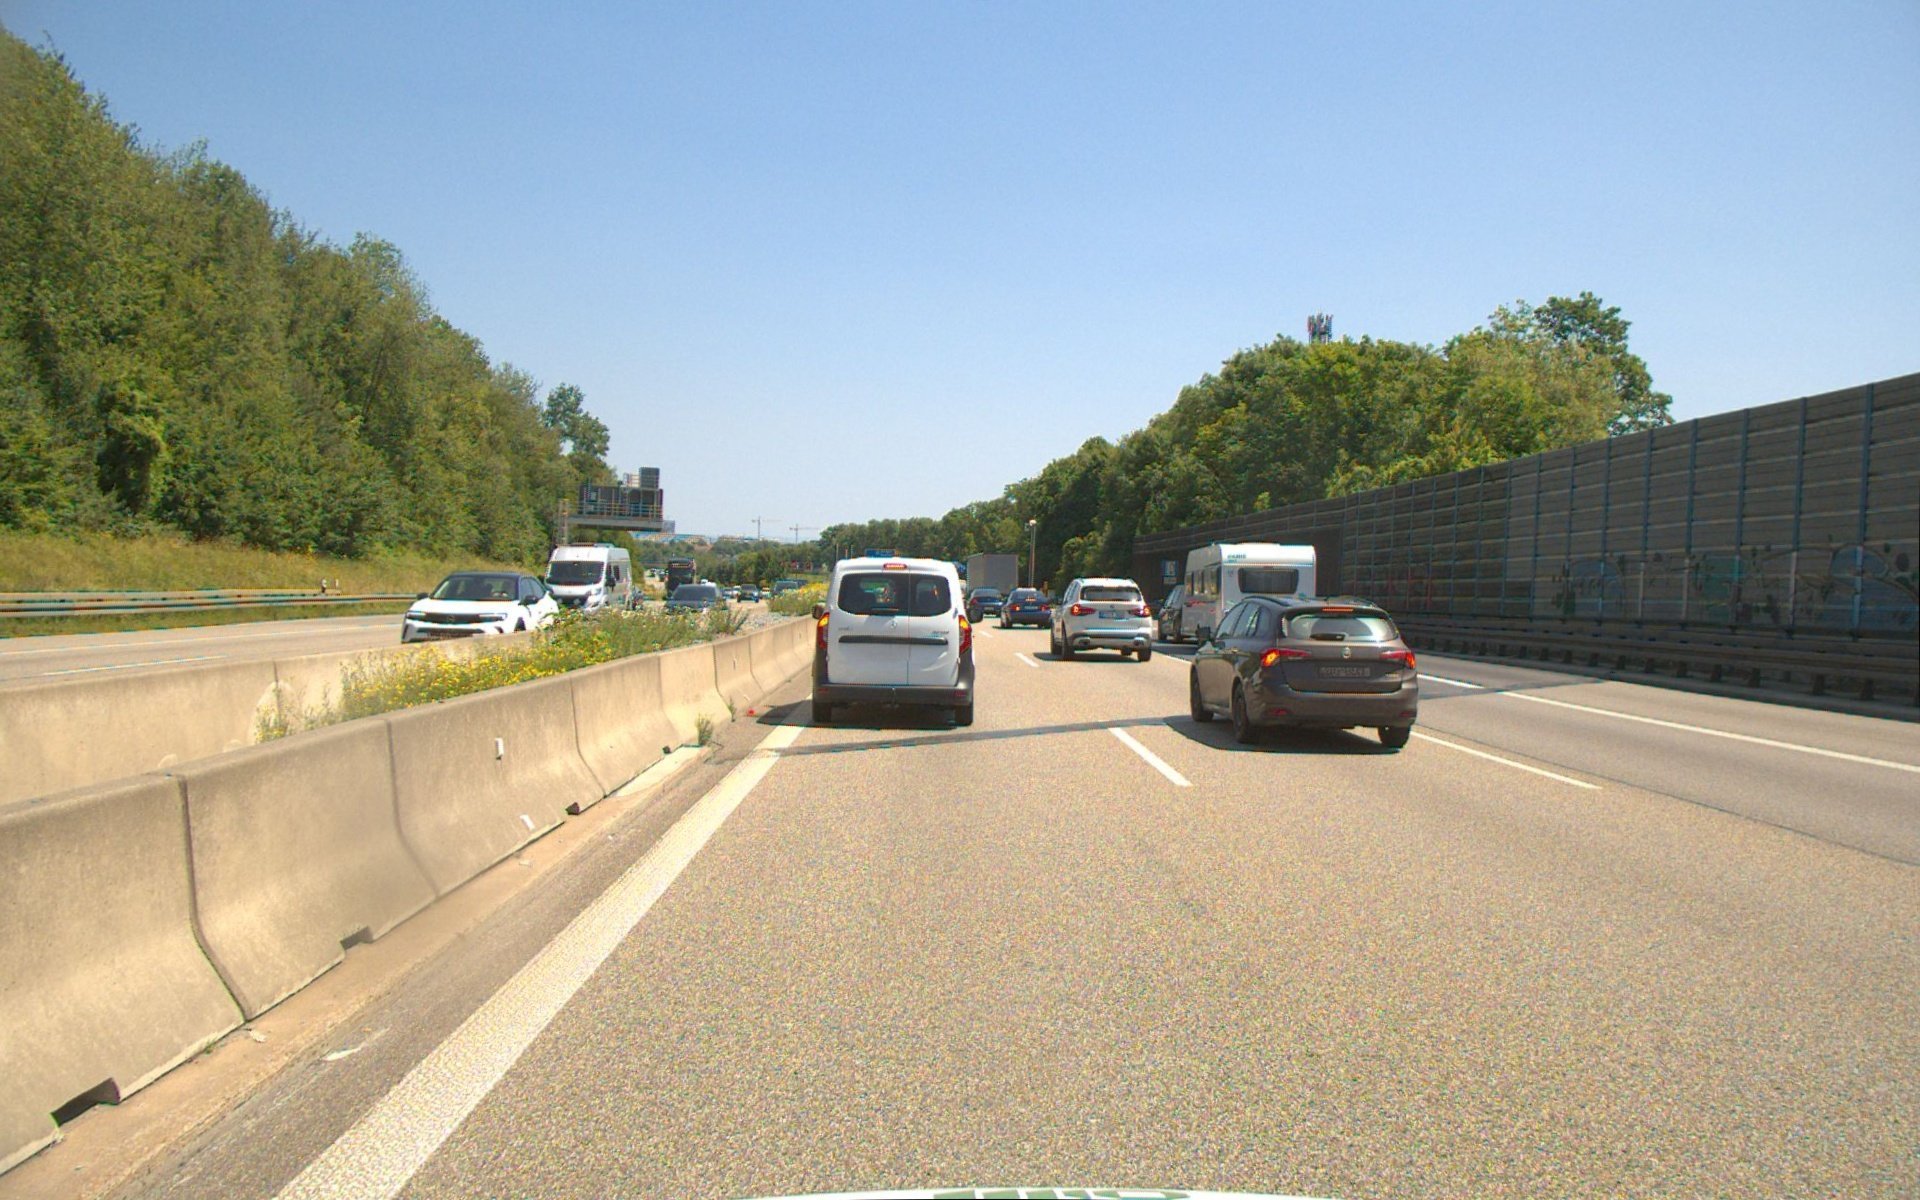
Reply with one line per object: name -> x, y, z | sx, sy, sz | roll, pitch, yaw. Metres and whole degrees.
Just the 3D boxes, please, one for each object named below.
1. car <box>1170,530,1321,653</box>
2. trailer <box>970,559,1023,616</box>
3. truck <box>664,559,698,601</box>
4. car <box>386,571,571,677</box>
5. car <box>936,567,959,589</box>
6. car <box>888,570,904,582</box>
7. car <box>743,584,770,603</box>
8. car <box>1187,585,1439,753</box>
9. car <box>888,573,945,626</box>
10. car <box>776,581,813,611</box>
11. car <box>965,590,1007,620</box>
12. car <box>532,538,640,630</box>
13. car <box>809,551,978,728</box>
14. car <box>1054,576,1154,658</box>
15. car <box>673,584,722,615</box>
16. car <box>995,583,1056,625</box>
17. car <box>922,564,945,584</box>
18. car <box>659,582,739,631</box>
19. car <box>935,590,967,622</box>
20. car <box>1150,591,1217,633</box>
car -> 7.021, -0.201, 41.434 | 2.429, 2.814, 6.216 | 1, 0, -3
trailer -> 2.632, -0.924, 123.535 | 3.021, 4.055, 10.315 | 1, 0, -4
truck -> -27.359, -1.942, 162.530 | 2.773, 4.008, 6.001 | 1, 0, -5
car -> -7.683, 0.340, 26.819 | 1.767, 1.553, 4.256 | 1, 0, -1
car -> -1.184, -2.077, 155.065 | 1.954, 2.049, 3.997 | 0, 0, -4
car -> -9.129, -3.445, 236.199 | 1.955, 1.758, 3.995 | 0, 0, -6
car -> -18.032, -0.582, 146.899 | 1.953, 1.656, 4.472 | 1, 0, -2
car -> 3.656, 0.635, 17.909 | 1.800, 1.539, 4.402 | 1, 1, 0
car -> -1.666, -0.024, 61.946 | 1.954, 1.892, 3.997 | 1, 0, -4
car -> -10.233, -0.256, 102.551 | 1.953, 1.754, 4.355 | 1, 1, -2
car -> 1.279, 0.234, 82.450 | 1.788, 1.449, 3.997 | 1, 0, -4
car -> -11.866, -0.502, 52.925 | 2.170, 2.748, 6.061 | 1, 0, -1
car -> -0.680, 0.403, 19.331 | 1.765, 1.839, 4.000 | 0, 0, 0
car -> 3.029, 0.320, 35.467 | 1.832, 1.636, 3.879 | 1, 1, 0
car -> -12.893, -0.050, 81.428 | 1.776, 1.426, 4.270 | 1, 1, -2
car -> 2.345, 0.131, 60.105 | 1.788, 1.449, 3.997 | 1, 0, -4
car -> -2.813, -2.702, 172.135 | 1.956, 2.049, 3.993 | 0, 0, -7
car -> -8.087, 0.174, 51.555 | 1.837, 1.435, 4.411 | 1, 0, -1
car -> -0.603, 0.397, 107.078 | 1.788, 2.024, 3.996 | 0, -1, -4
car -> 8.148, 0.416, 60.470 | 1.787, 1.449, 3.999 | 1, 0, -2
